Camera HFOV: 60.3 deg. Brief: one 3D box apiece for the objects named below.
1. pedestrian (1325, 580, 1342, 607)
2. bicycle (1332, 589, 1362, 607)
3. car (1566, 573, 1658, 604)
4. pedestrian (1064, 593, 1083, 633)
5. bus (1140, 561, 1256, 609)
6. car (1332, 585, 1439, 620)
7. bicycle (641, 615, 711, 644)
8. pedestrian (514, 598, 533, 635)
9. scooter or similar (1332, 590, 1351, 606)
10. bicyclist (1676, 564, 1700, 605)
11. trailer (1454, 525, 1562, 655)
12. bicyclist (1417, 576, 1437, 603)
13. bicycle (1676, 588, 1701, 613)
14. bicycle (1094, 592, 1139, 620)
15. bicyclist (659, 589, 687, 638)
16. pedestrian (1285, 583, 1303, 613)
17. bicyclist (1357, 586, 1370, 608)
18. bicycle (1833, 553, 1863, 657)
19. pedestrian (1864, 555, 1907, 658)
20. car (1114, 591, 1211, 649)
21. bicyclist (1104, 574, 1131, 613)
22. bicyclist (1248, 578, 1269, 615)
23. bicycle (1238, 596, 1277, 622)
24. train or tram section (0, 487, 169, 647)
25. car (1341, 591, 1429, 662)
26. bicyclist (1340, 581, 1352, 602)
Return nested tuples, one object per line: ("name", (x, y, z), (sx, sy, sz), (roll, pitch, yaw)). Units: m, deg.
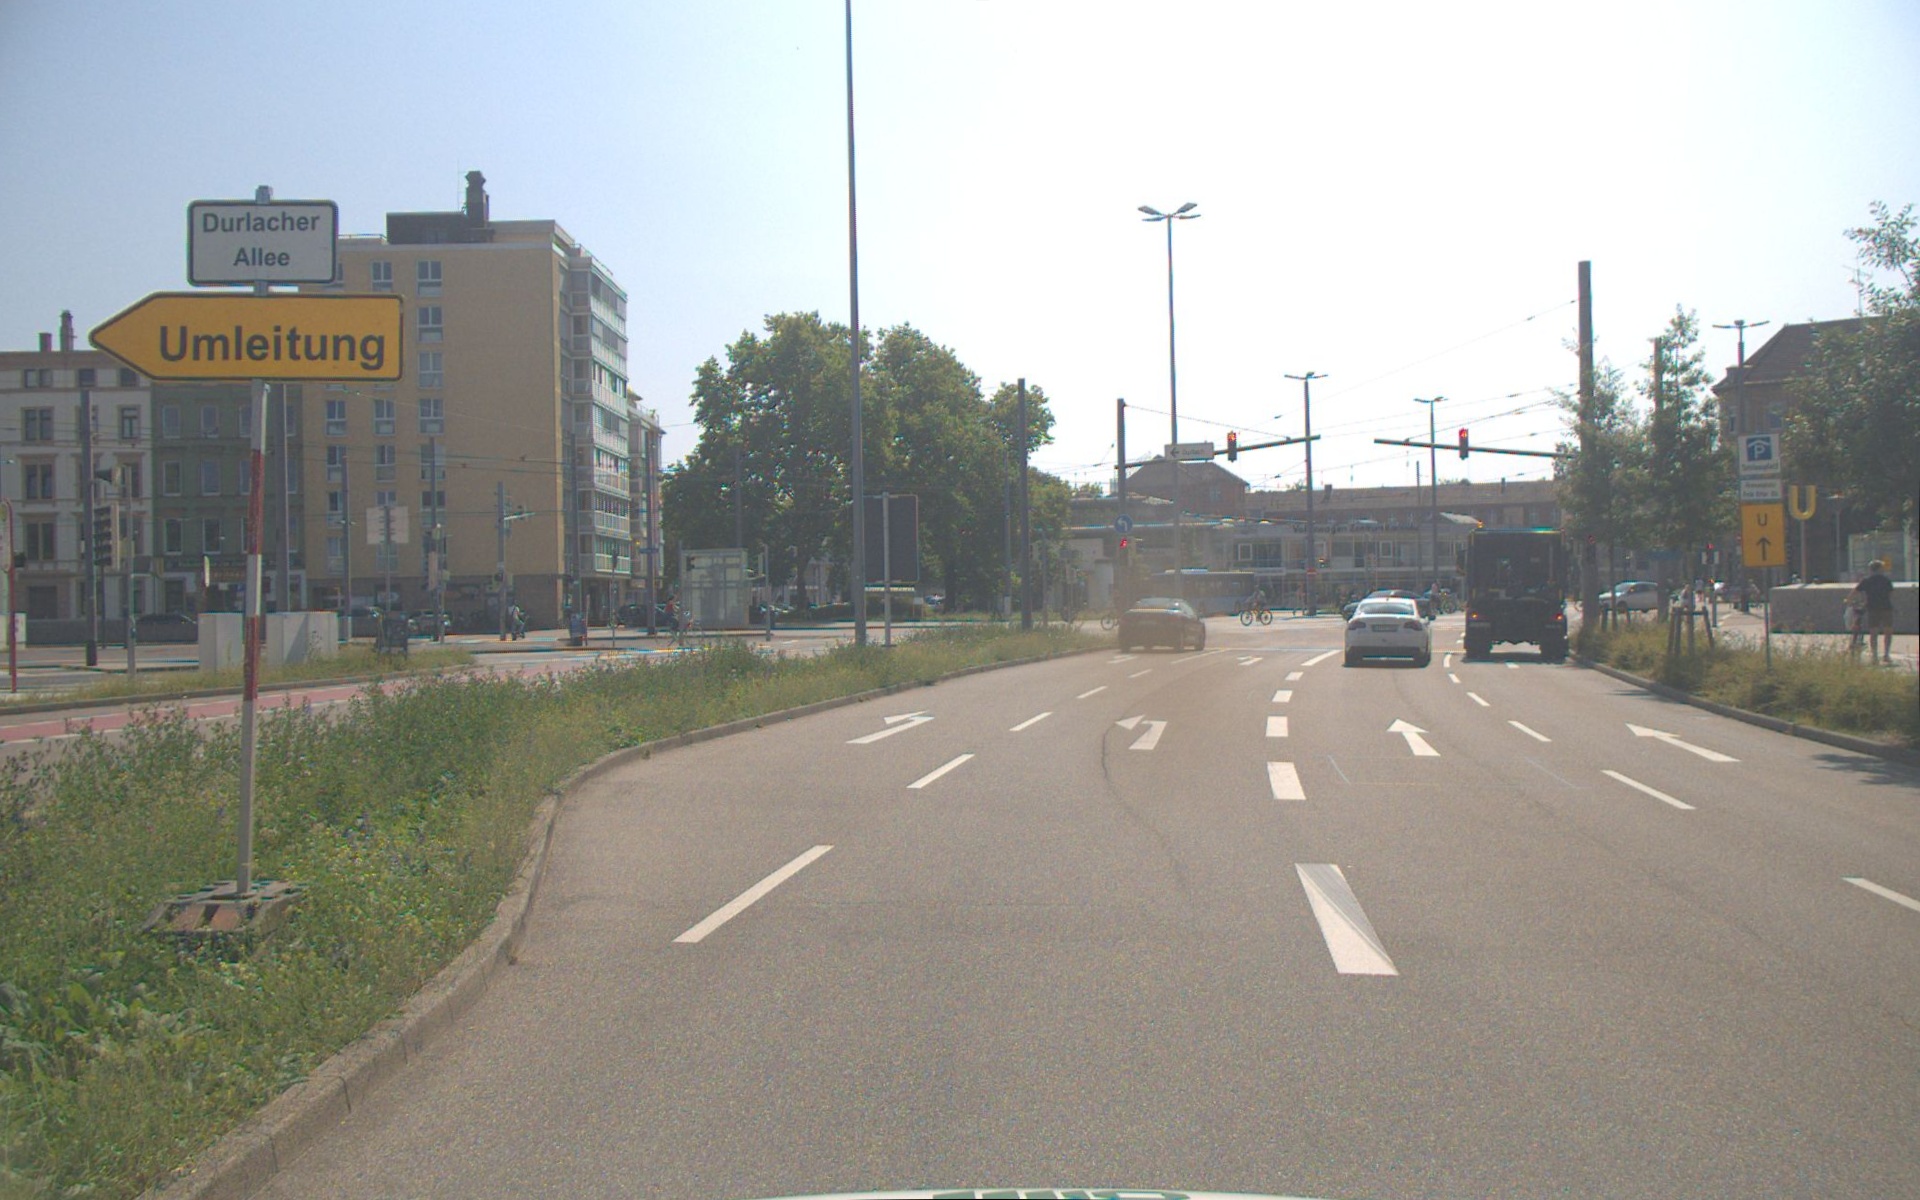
("pedestrian", (22.427, -0.381, 99.278), (0.631, 1.588, 0.737), (-1, 0, -39))
("bicycle", (22.188, -0.115, 94.875), (1.562, 1.002, 0.506), (-1, 0, 33))
("car", (33.037, -0.580, 83.819), (3.978, 1.450, 1.772), (-1, 0, -9))
("pedestrian", (3.793, 0.430, 55.241), (0.583, 1.290, 0.505), (-1, 2, -2))
("bus", (15.900, -1.026, 109.485), (2.999, 2.982, 11.821), (-1, 0, 32))
("car", (19.427, 0.100, 75.542), (4.487, 1.463, 1.986), (-1, 0, -23))
("bicycle", (-9.955, 1.034, 58.029), (2.360, 0.970, 0.603), (-1, 0, -1))
("pedestrian", (-19.918, 0.745, 75.486), (0.635, 1.661, 0.814), (-1, 0, -1))
("scooter or similar", (23.018, -0.115, 99.773), (0.830, 0.991, 0.781), (-1, 0, -39))
("bicyclist", (24.146, -0.504, 54.843), (0.660, 1.343, 0.683), (-1, 0, 22))
("trailer", (13.883, -0.286, 42.119), (2.411, 3.060, 6.329), (1, 1, 17))
("bicyclist", (27.308, -0.613, 96.795), (0.885, 1.527, 0.864), (-1, 0, -2))
("bicycle", (24.195, 0.005, 54.934), (0.660, 0.790, 2.127), (-1, 0, 22))
("bicycle", (6.812, 0.265, 72.163), (0.956, 1.199, 2.819), (-1, 0, -16))
("bicyclist", (-10.062, 0.487, 58.038), (0.822, 1.671, 0.606), (-2, -1, -1))
("pedestrian", (19.944, -0.101, 98.805), (0.769, 1.782, 0.807), (-1, 0, 31))
("bicyclist", (23.464, -0.201, 96.165), (0.582, 1.269, 0.507), (-1, 0, 27))
("bicycle", (16.567, 0.083, 30.879), (0.446, 1.892, 1.361), (-1, 0, 28))
("pedestrian", (17.145, 0.119, 30.661), (0.647, 1.892, 0.792), (-1, 0, 29))
("car", (5.467, 0.508, 44.275), (1.721, 1.429, 3.982), (0, 1, 20))
("bicyclist", (6.857, -0.273, 71.984), (0.956, 1.683, 0.659), (-1, 0, -17))
("bicyclist", (13.714, -0.149, 76.038), (0.614, 1.679, 0.682), (-1, 0, -40))
("bicycle", (13.673, 0.412, 75.992), (2.026, 1.156, 0.688), (-1, 0, -41))
("train or tram section", (-23.293, -0.682, 38.458), (3.089, 3.632, 8.195), (-3, 0, 42))
("car", (9.707, 0.561, 37.588), (1.721, 1.480, 4.428), (0, 1, 17))
("bicyclist", (22.162, -0.496, 94.888), (0.494, 1.209, 0.506), (-1, 0, 33))
